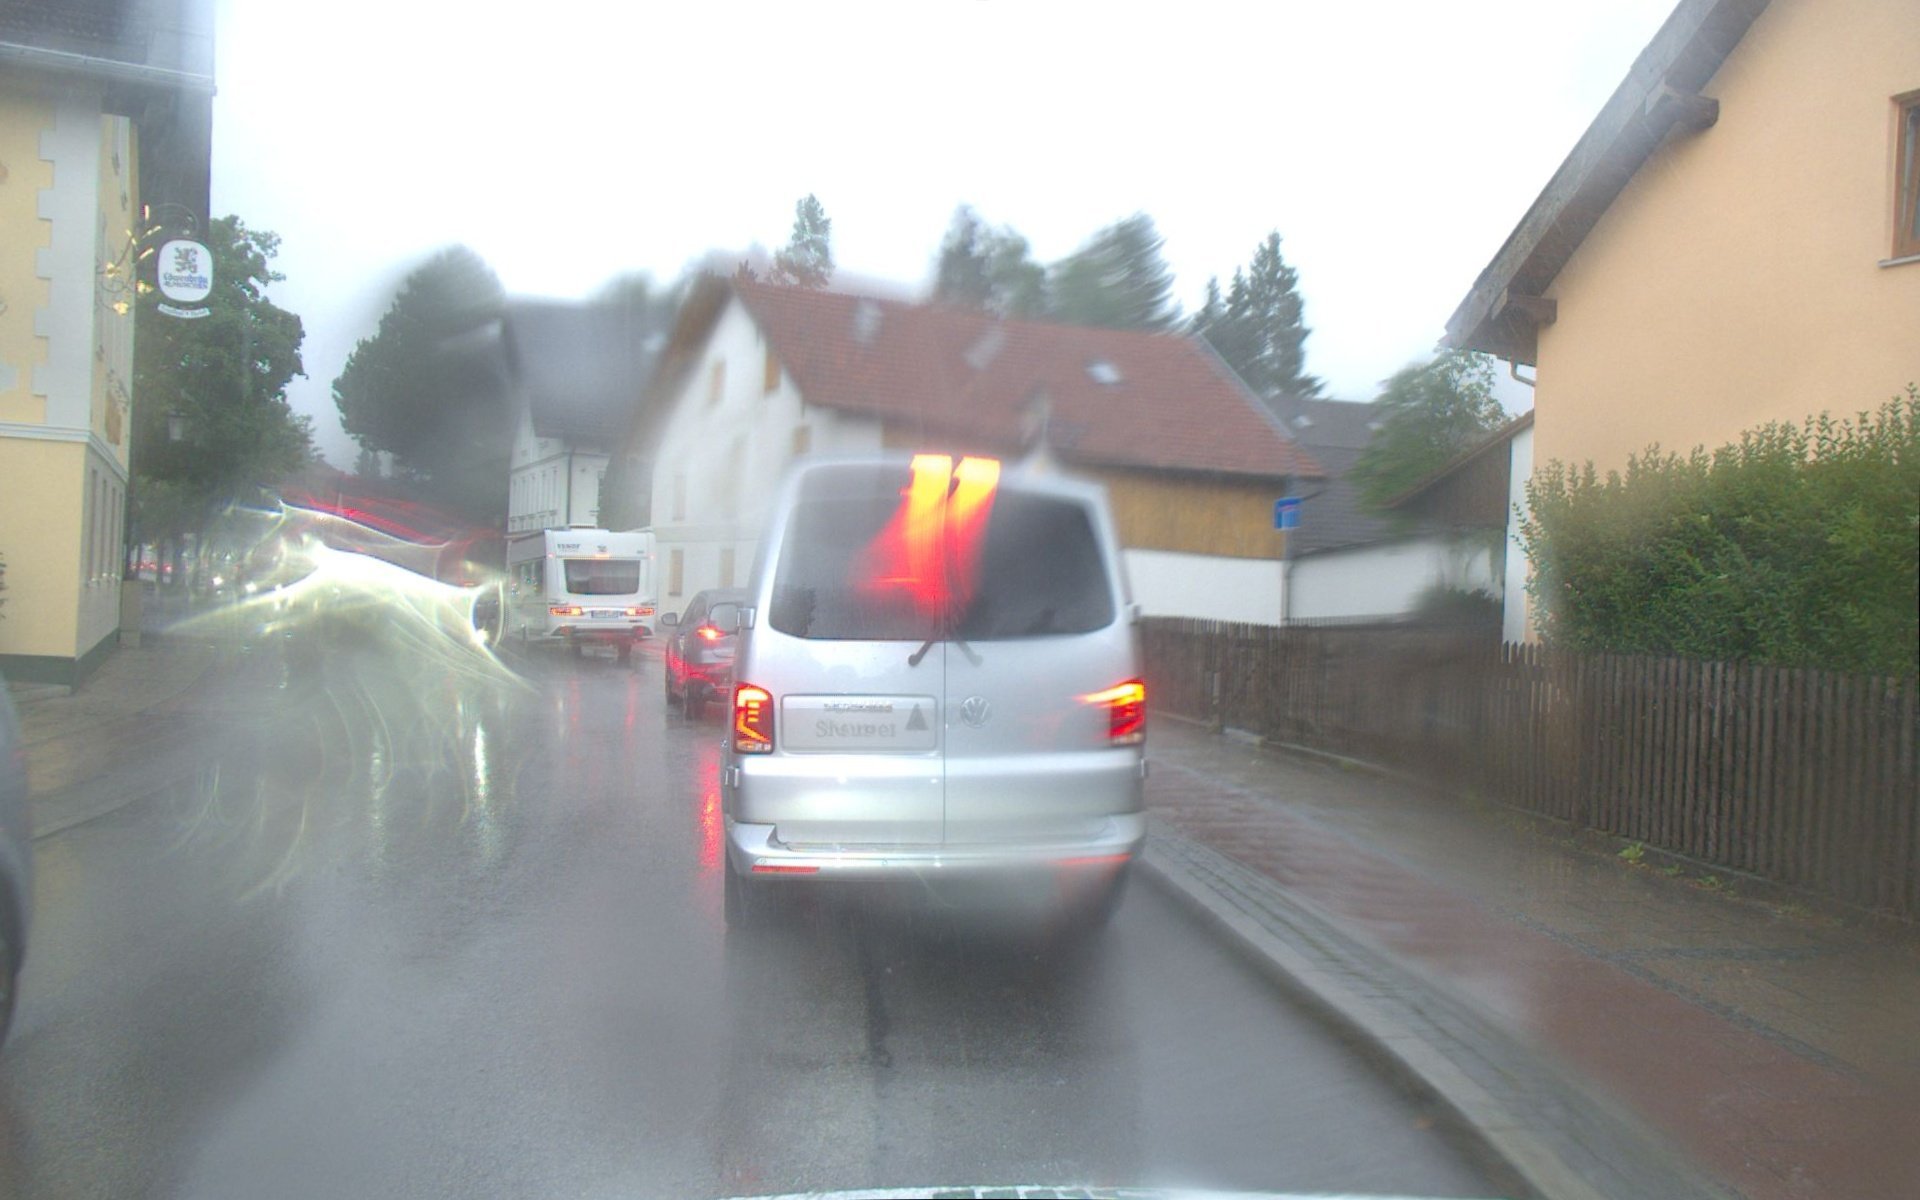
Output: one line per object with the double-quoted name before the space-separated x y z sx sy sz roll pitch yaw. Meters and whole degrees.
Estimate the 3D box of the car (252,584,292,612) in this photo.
"car" -36.145 -0.149 86.833 1.838 1.382 4.450 0 1 -24

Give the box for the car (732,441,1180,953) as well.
"car" -0.096 0.386 9.027 1.741 1.997 5.072 1 0 -2

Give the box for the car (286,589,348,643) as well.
"car" -24.694 0.604 63.457 1.828 2.006 4.662 0 0 -26

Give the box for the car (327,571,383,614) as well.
"car" -30.162 -0.391 82.361 2.142 1.932 4.975 3 0 -25

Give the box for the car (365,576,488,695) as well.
"car" -8.009 0.486 24.675 1.564 1.638 3.517 1 0 -21

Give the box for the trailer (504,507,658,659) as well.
"trailer" -8.235 -0.341 35.476 2.239 2.955 6.091 1 0 -22

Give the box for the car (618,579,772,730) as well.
"car" -3.293 0.568 20.673 1.677 1.611 4.676 -1 1 -9

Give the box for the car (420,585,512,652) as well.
"car" -16.156 0.560 53.929 2.142 1.932 4.975 3 0 -25

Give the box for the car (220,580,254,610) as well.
"car" -45.427 -0.334 103.962 1.838 1.788 4.450 -2 1 -24

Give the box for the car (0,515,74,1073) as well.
"car" -3.632 0.591 3.491 1.719 1.707 3.994 0 0 -6

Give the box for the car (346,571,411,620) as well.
"car" -25.318 -0.238 71.961 2.142 1.932 4.975 3 0 -25

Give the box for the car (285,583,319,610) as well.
"car" -51.645 -0.277 129.720 2.142 1.932 4.975 3 0 -25
